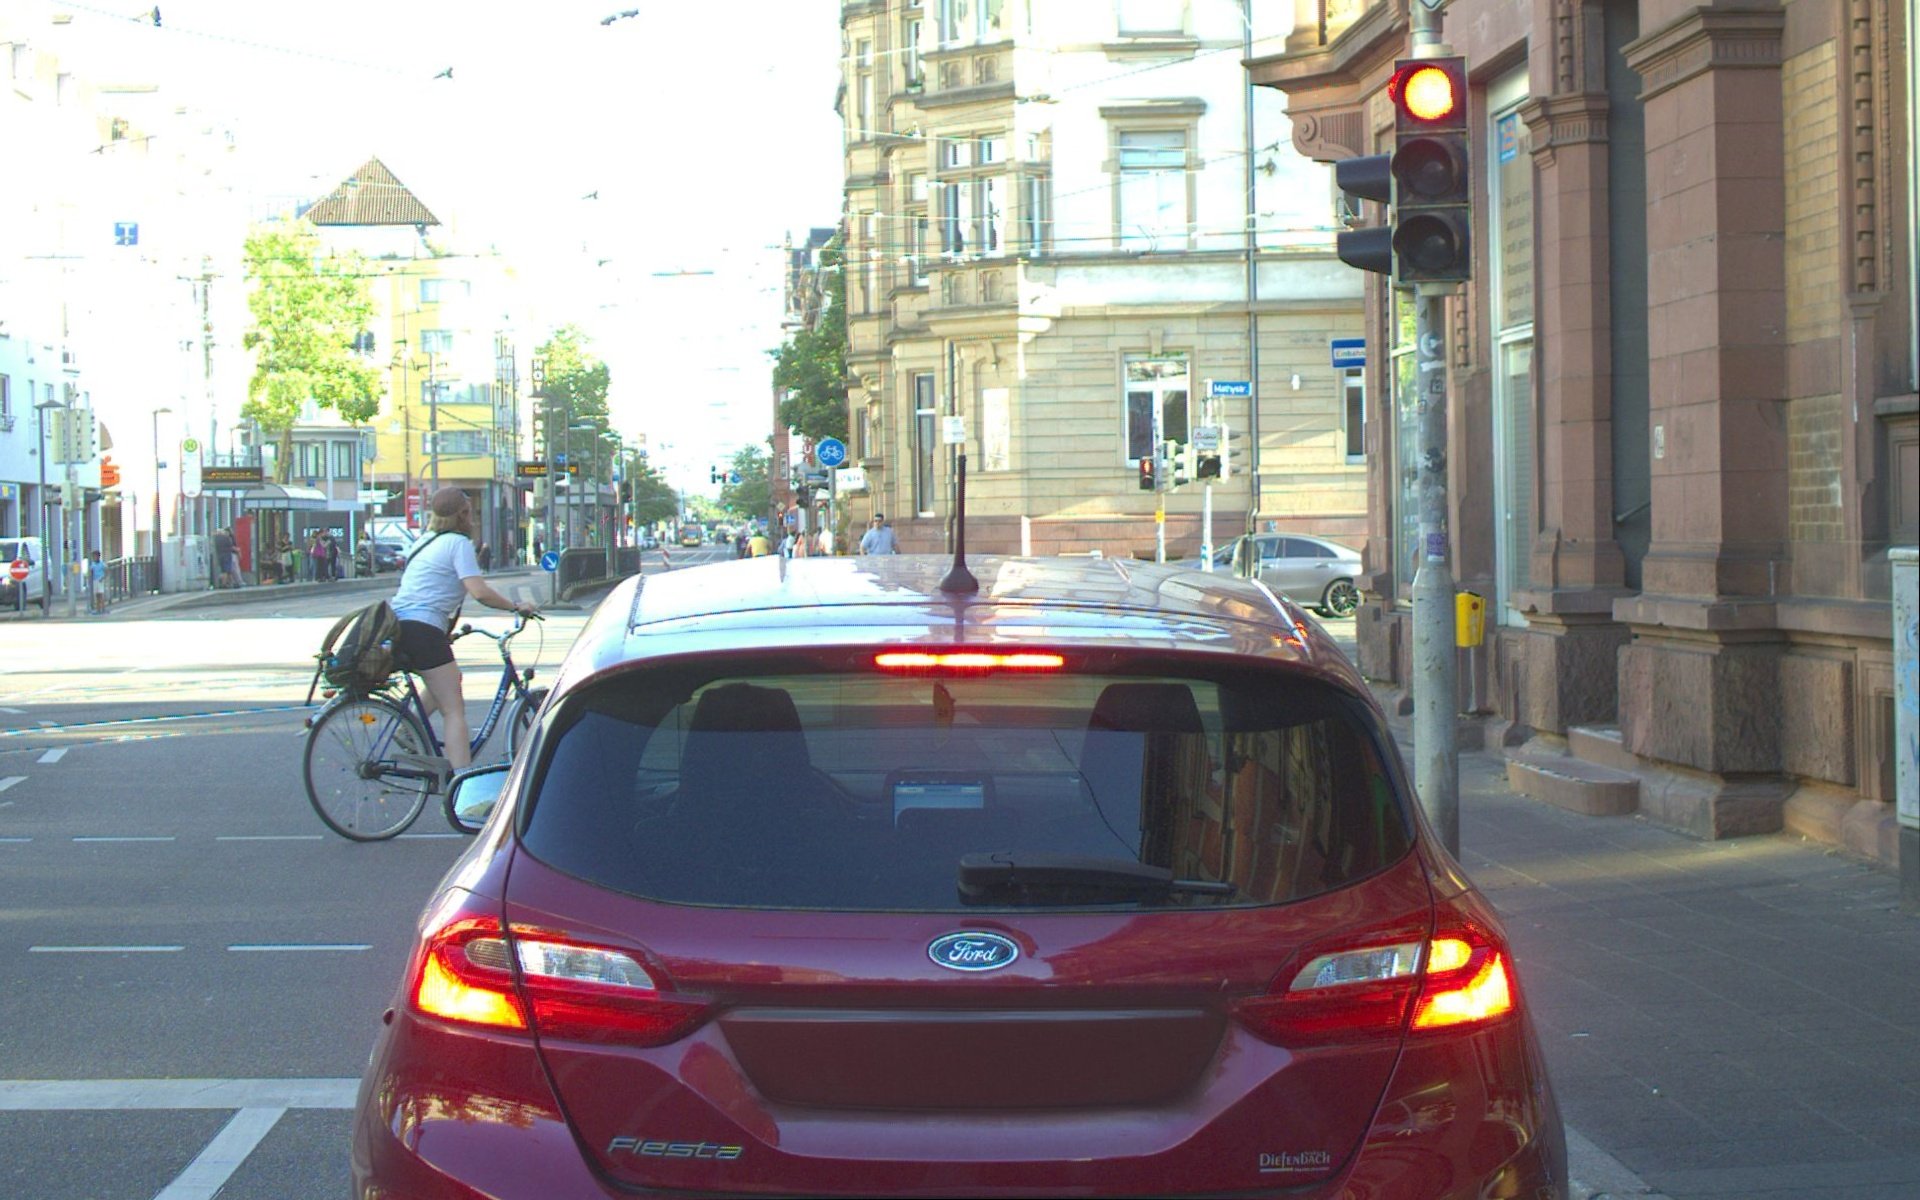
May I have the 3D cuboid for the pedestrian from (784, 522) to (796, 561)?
[{"bbox_3d":[-8.726,-3.017,176.584,0.577,2.007,0.631,-1,1,-2],"label":"pedestrian"}]

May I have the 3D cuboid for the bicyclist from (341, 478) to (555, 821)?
[{"bbox_3d":[-2.498,0.220,16.766,0.730,1.621,0.765,-2,2,-39],"label":"bicyclist"}]

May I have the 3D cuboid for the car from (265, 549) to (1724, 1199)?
[{"bbox_3d":[-0.121,0.657,6.100,1.754,1.461,3.946,0,1,-5],"label":"car"}]

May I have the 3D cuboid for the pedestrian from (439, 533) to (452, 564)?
[{"bbox_3d":[-25.188,-2.519,168.286,0.580,1.483,0.526,-1,1,-5],"label":"pedestrian"}]

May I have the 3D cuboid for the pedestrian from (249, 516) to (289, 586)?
[{"bbox_3d":[-20.237,-1.437,100.689,0.956,2.007,1.049,-1,1,-3],"label":"pedestrian"}]

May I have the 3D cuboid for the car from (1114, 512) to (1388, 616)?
[{"bbox_3d":[4.879,-0.616,58.020,4.444,1.635,1.704,-1,1,0],"label":"car"}]

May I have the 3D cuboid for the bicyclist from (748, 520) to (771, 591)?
[{"bbox_3d":[-4.736,-1.052,81.196,0.499,1.670,0.545,-1,1,-1],"label":"bicyclist"}]

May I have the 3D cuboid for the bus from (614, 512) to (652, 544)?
[{"bbox_3d":[-20.621,-4.549,217.147,1.925,2.007,7.138,-1,1,-2],"label":"bus"}]

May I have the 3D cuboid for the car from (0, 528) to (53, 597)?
[{"bbox_3d":[-24.342,-0.971,87.610,1.701,1.713,3.565,-1,1,-4],"label":"car"}]

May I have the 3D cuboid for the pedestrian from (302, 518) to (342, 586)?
[{"bbox_3d":[-19.123,-1.448,103.082,1.045,2.007,0.959,-1,1,-5],"label":"pedestrian"}]

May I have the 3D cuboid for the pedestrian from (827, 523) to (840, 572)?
[{"bbox_3d":[-4.371,-1.825,118.715,0.413,1.674,0.485,-1,1,-1],"label":"pedestrian"}]

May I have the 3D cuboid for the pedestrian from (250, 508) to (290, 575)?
[{"bbox_3d":[-20.635,-1.753,102.894,1.045,2.007,0.959,-1,1,-5],"label":"pedestrian"}]

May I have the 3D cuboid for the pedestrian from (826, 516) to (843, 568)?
[{"bbox_3d":[-4.918,-2.268,134.739,0.577,2.007,0.631,-1,1,3],"label":"pedestrian"}]

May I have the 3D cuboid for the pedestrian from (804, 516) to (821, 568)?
[{"bbox_3d":[-5.710,-2.249,132.817,0.577,2.007,0.631,-1,1,3],"label":"pedestrian"}]

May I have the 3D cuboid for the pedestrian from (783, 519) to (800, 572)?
[{"bbox_3d":[-6.489,-2.111,132.673,0.577,2.007,0.631,-1,1,3],"label":"pedestrian"}]

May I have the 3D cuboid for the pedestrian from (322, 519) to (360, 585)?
[{"bbox_3d":[-19.033,-1.480,105.741,1.045,2.007,0.959,-1,1,-5],"label":"pedestrian"}]

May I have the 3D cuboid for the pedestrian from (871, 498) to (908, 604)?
[{"bbox_3d":[-1.354,-0.947,66.246,0.651,2.007,0.760,-1,1,-4],"label":"pedestrian"}]

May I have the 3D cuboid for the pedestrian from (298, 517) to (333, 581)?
[{"bbox_3d":[-20.381,-1.623,108.785,0.956,2.007,1.049,-1,1,-5],"label":"pedestrian"}]

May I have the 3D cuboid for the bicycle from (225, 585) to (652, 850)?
[{"bbox_3d":[-2.523,0.540,16.790,2.019,1.173,0.628,-2,2,-39],"label":"bicycle"}]

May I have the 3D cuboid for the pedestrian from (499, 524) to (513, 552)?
[{"bbox_3d":[-25.990,-3.540,196.863,0.628,1.599,0.579,-1,1,-20],"label":"pedestrian"}]

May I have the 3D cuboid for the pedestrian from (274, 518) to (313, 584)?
[{"bbox_3d":[-20.340,-1.493,104.918,1.045,2.007,0.959,-1,1,-5],"label":"pedestrian"}]

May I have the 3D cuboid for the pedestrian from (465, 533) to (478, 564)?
[{"bbox_3d":[-23.323,-2.455,164.071,0.524,1.483,0.583,-1,1,-1],"label":"pedestrian"}]

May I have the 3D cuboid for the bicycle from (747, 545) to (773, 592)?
[{"bbox_3d":[-4.730,-0.755,81.371,0.526,1.085,1.486,-1,1,-1],"label":"bicycle"}]
